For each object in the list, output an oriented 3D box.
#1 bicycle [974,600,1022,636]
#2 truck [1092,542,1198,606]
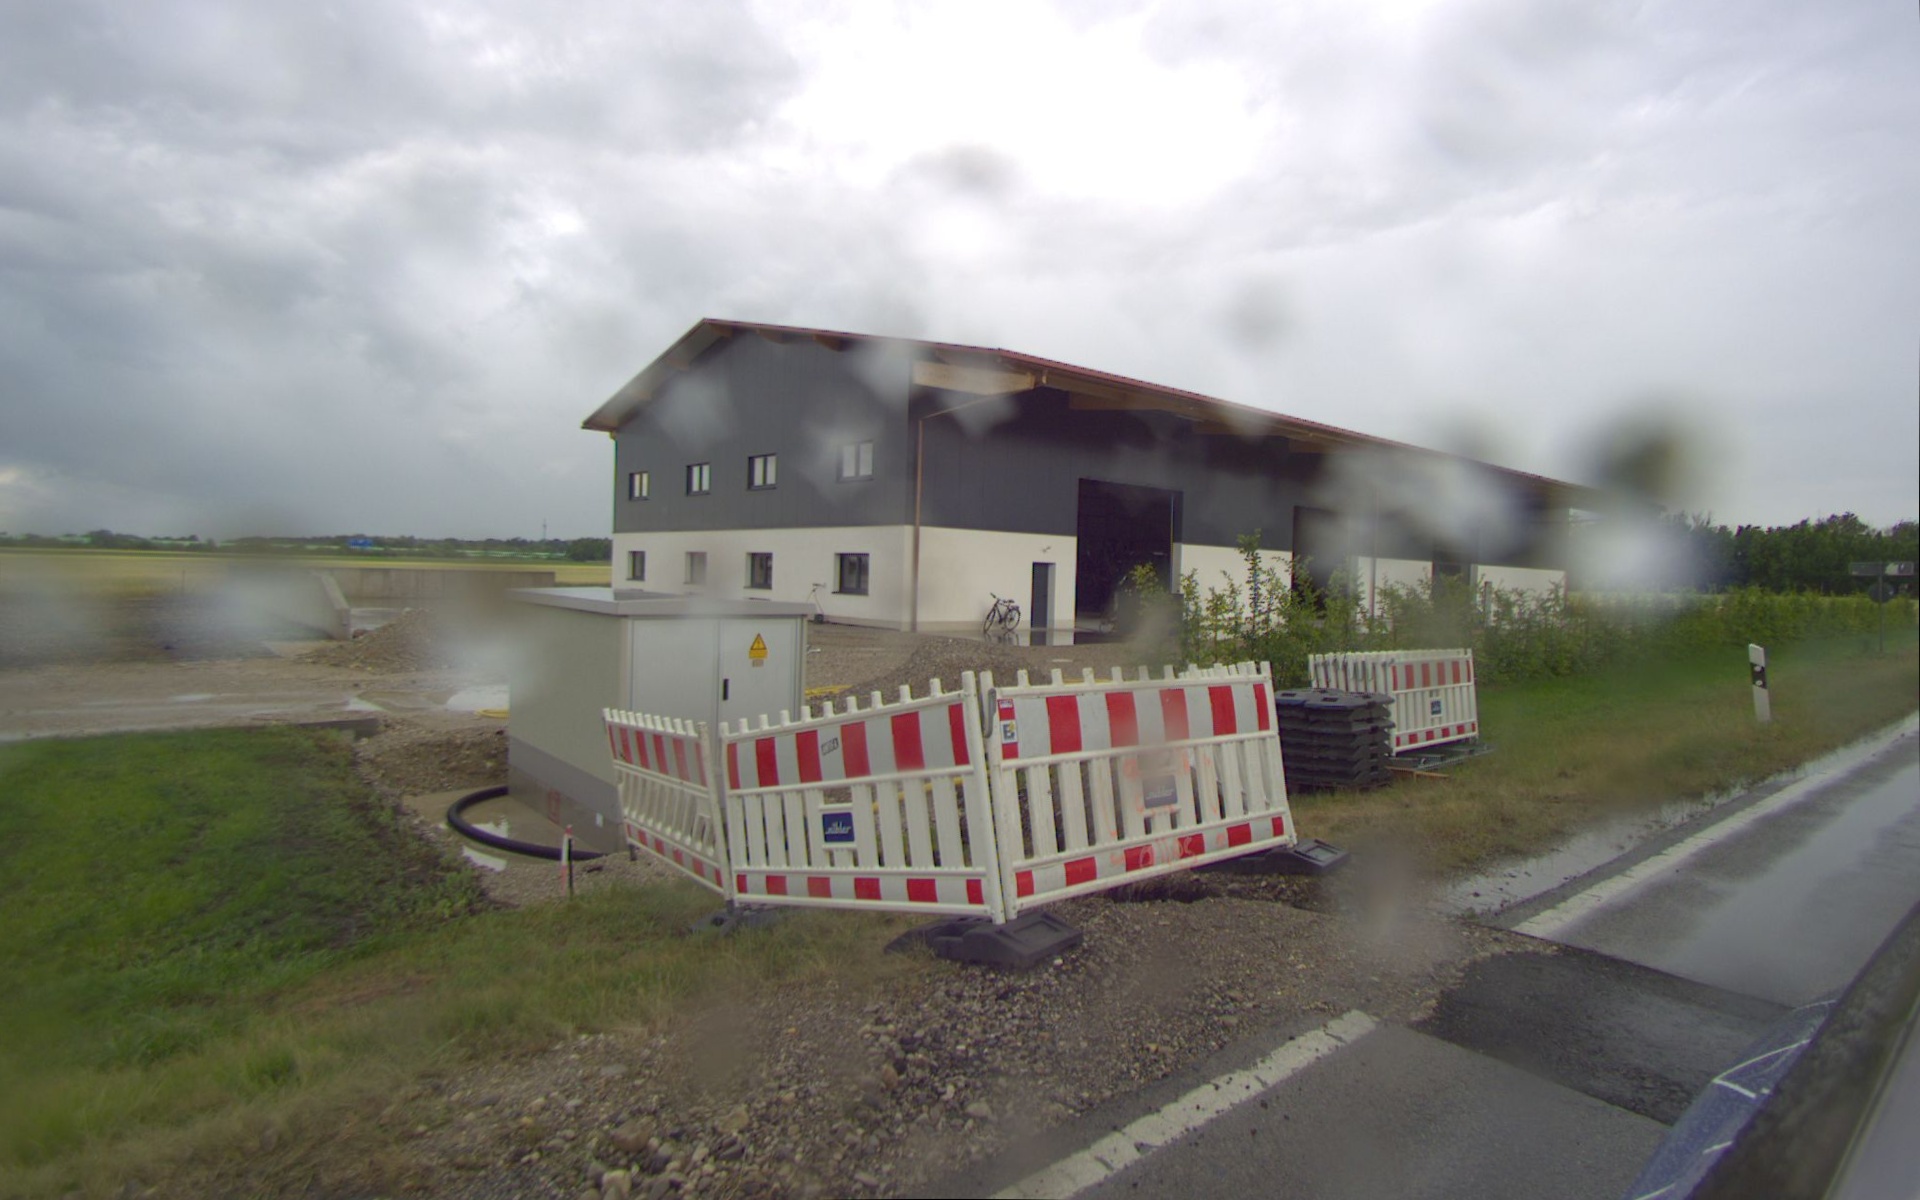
[{"bbox_3d":[1.193,0.544,31.235,1.631,1.085,0.391,0,2,-41],"label":"bicycle"},{"bbox_3d":[9.384,-1.292,51.070,5.250,3.050,2.495,0,2,-41],"label":"truck"}]
